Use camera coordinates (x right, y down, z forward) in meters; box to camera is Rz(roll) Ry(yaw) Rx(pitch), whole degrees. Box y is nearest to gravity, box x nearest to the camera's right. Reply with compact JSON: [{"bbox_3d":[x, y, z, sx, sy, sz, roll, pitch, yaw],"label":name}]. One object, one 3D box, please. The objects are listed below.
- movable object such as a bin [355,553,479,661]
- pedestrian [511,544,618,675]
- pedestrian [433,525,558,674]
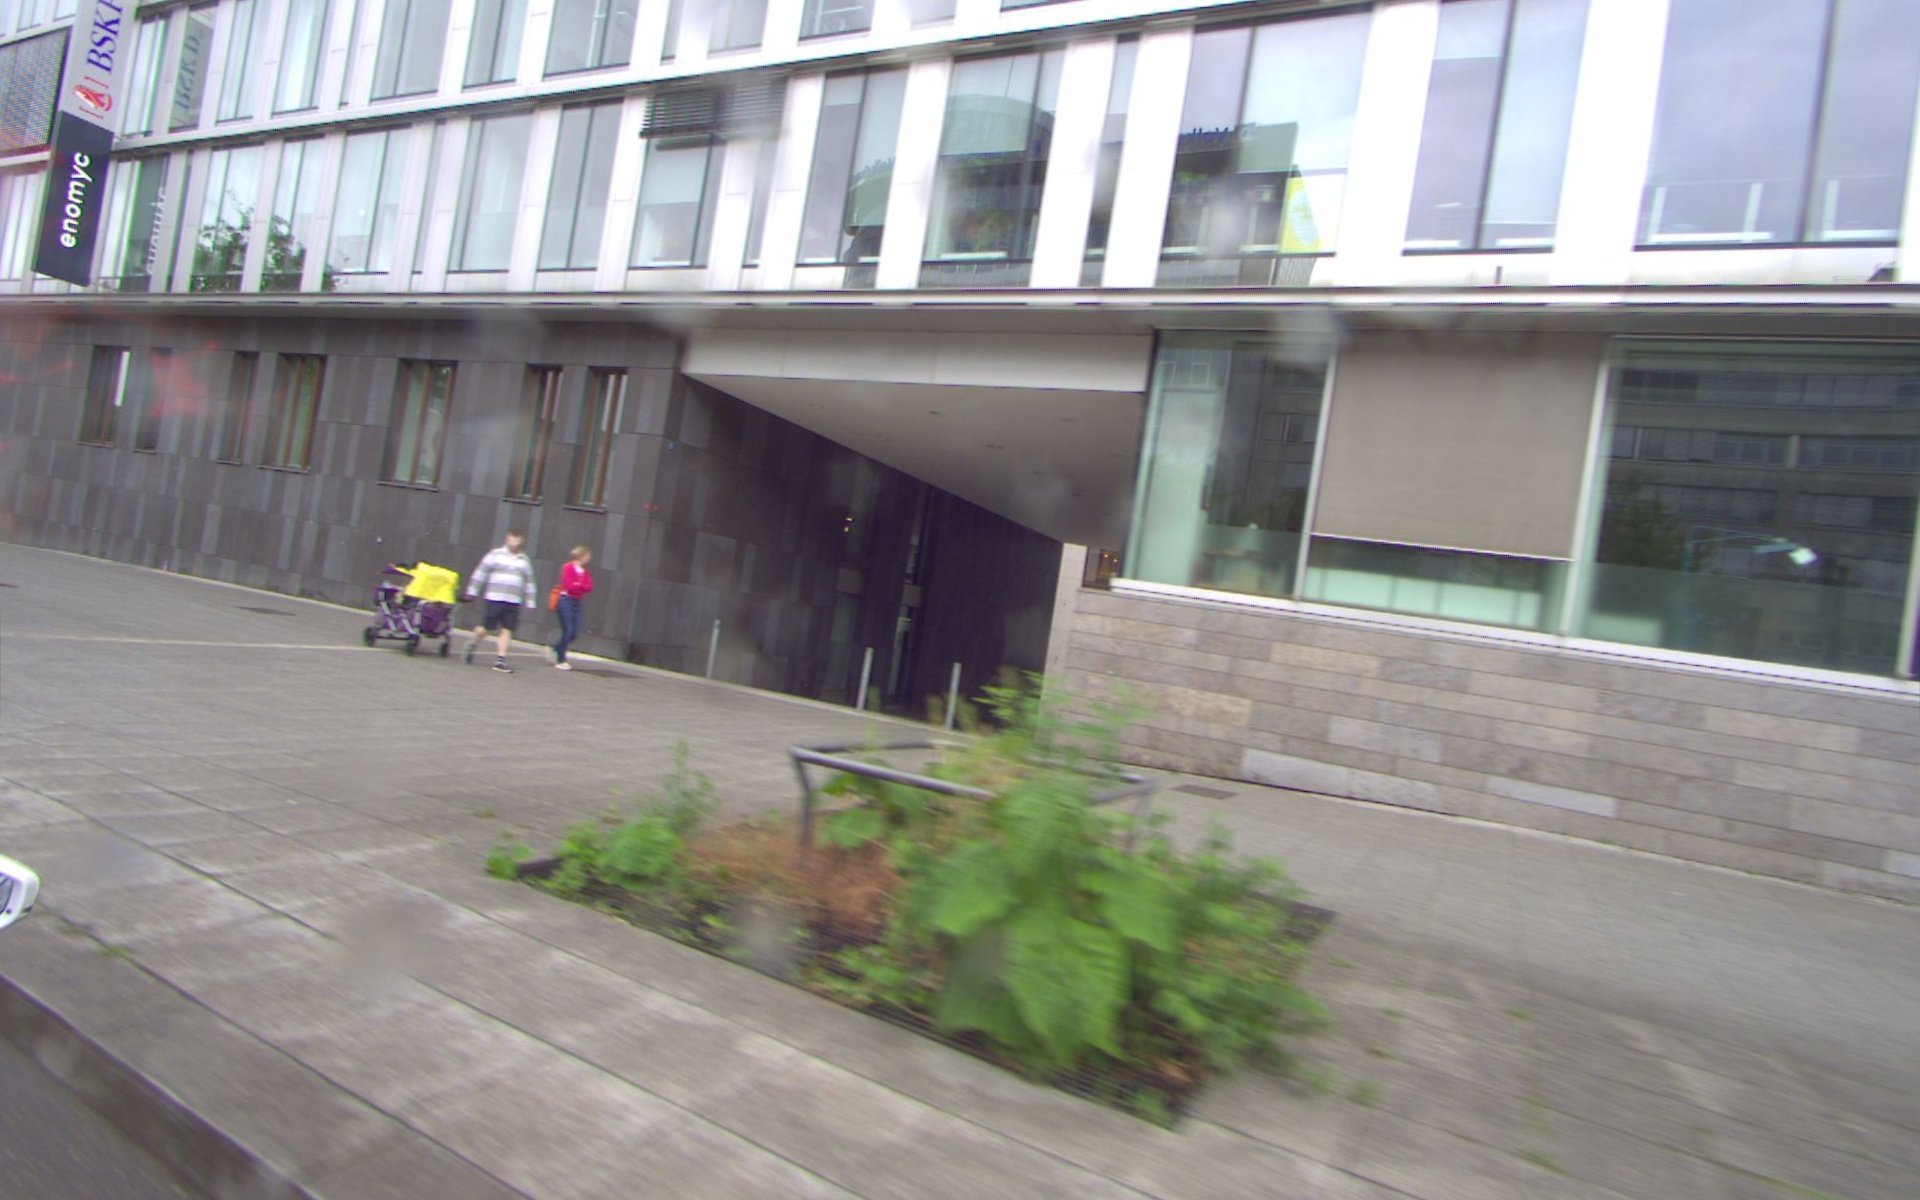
[{"bbox_3d":[-7.453,0.093,13.805,1.419,1.280,0.732,7,1,29],"label":"movable object such as a bin"},{"bbox_3d":[-5.648,0.134,14.371,1.080,1.712,0.719,7,1,26],"label":"pedestrian"},{"bbox_3d":[-6.134,0.004,13.309,1.028,1.814,0.901,7,1,26],"label":"pedestrian"}]
